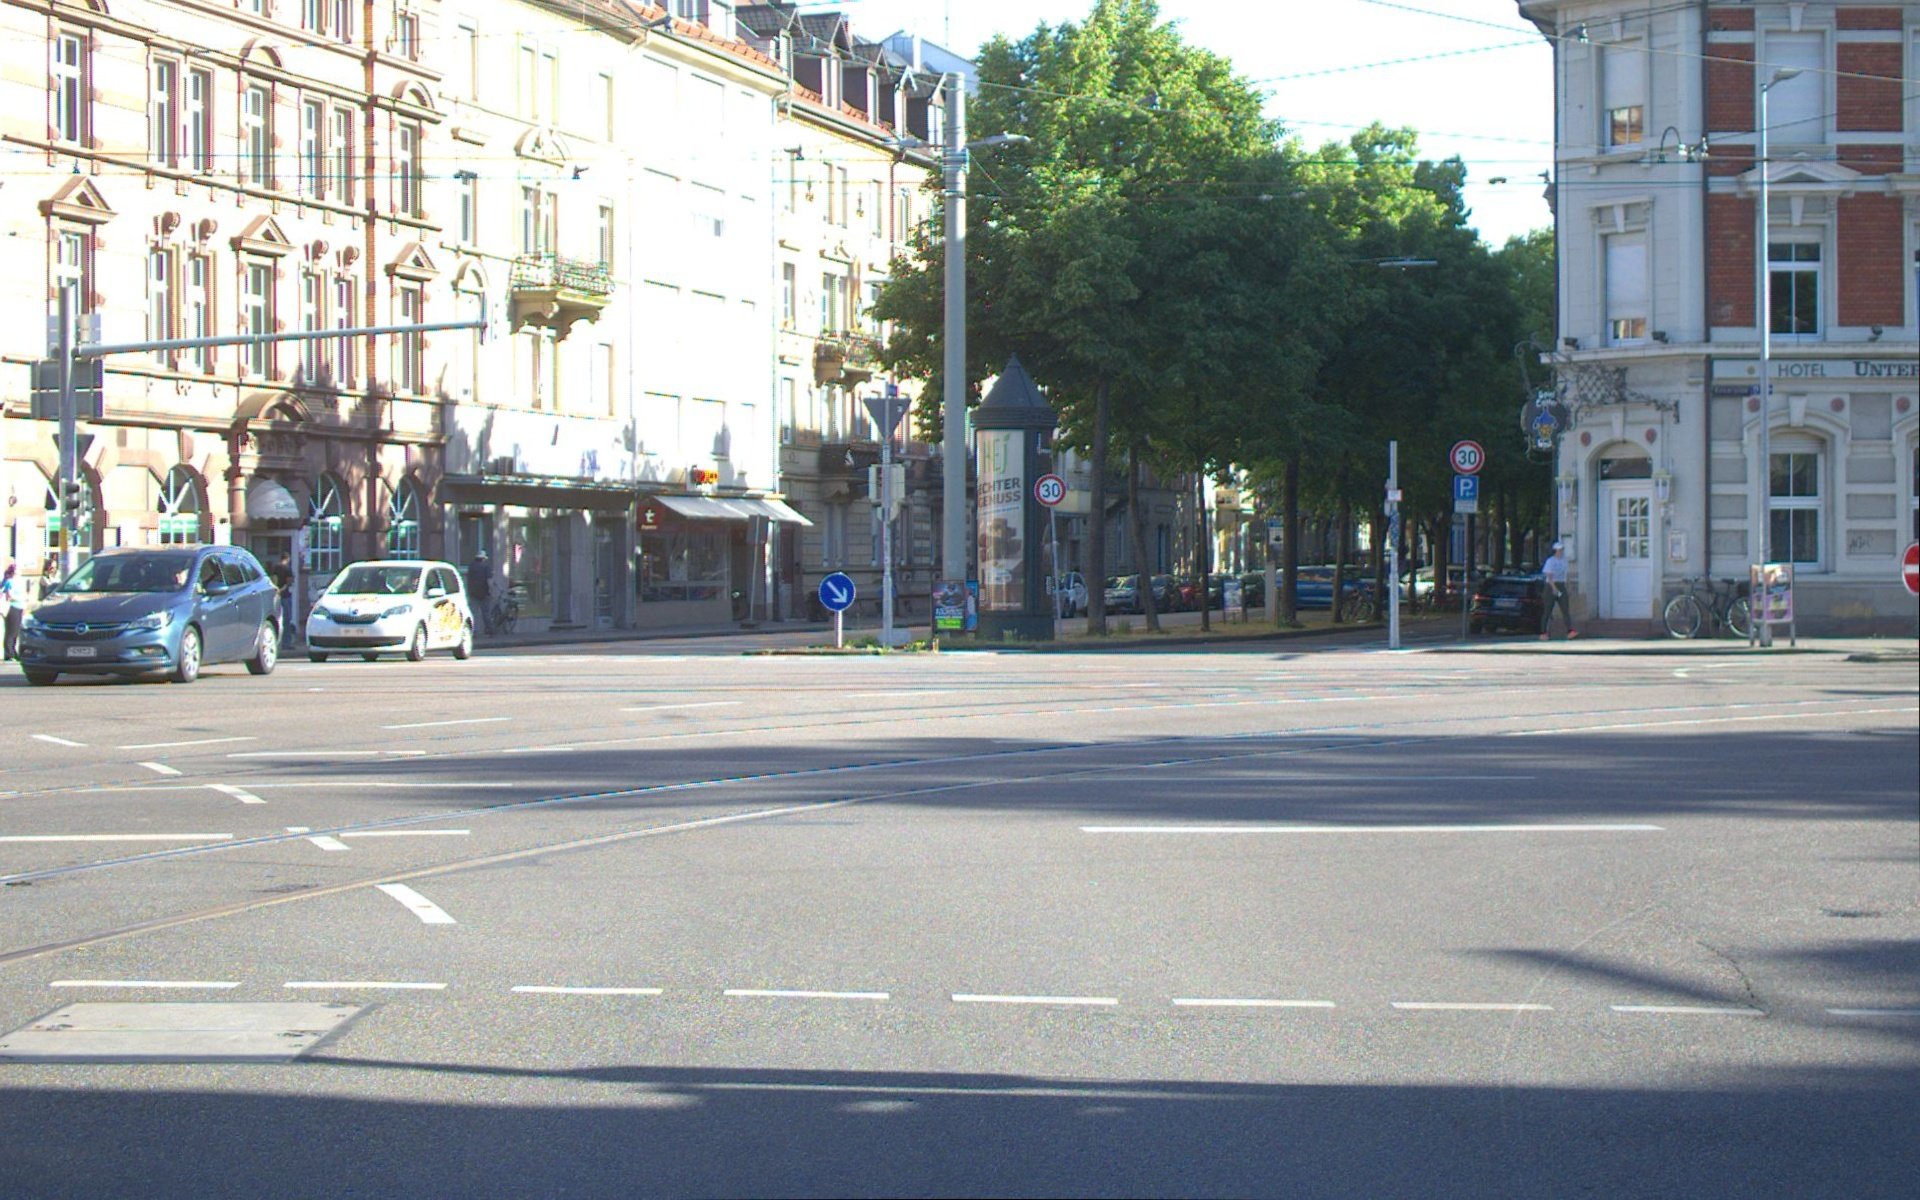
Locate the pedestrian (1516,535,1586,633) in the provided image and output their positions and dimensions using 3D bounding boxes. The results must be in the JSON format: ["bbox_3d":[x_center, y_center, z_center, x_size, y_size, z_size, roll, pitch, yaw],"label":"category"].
[{"bbox_3d":[10.149,-0.285,59.061,0.939,1.664,0.716,1,1,45],"label":"pedestrian"}]

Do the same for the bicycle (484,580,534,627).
[{"bbox_3d":[-10.430,0.072,79.546,0.495,1.063,1.768,0,1,16],"label":"bicycle"}]

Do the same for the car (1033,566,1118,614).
[{"bbox_3d":[3.808,-0.338,112.866,1.995,1.492,4.031,0,1,14],"label":"car"}]

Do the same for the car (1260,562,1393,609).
[{"bbox_3d":[12.320,-0.487,115.656,3.993,1.540,1.997,0,1,28],"label":"car"}]

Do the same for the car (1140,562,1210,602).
[{"bbox_3d":[8.255,-0.703,131.901,1.995,1.492,4.031,0,1,14],"label":"car"}]

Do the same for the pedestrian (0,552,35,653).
[{"bbox_3d":[-15.462,0.035,55.788,0.675,1.636,0.578,0,1,13],"label":"pedestrian"}]

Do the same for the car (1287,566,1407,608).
[{"bbox_3d":[14.443,-0.496,128.297,3.993,1.540,1.997,0,1,28],"label":"car"}]

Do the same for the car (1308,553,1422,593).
[{"bbox_3d":[15.845,-1.051,134.449,3.993,1.540,1.997,0,1,28],"label":"car"}]

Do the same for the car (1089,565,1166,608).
[{"bbox_3d":[5.977,-0.496,122.587,1.995,1.492,4.031,0,1,14],"label":"car"}]

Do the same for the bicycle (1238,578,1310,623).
[{"bbox_3d":[7.548,0.006,82.750,0.582,1.063,1.949,-1,1,-37],"label":"bicycle"}]

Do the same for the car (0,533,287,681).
[{"bbox_3d":[-8.764,0.032,37.161,1.774,1.492,4.573,0,1,4],"label":"car"}]

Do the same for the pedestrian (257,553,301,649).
[{"bbox_3d":[-13.011,0.012,65.677,0.580,1.830,0.632,0,1,16],"label":"pedestrian"}]

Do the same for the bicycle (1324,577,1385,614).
[{"bbox_3d":[11.378,-0.132,99.242,0.582,1.063,1.949,-1,1,-37],"label":"bicycle"}]

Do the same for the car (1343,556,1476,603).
[{"bbox_3d":[15.269,-0.698,116.761,3.994,1.540,1.997,0,1,31],"label":"car"}]

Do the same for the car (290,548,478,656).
[{"bbox_3d":[-8.338,0.004,50.037,1.718,1.492,3.582,0,1,8],"label":"car"}]

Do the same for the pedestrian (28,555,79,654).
[{"bbox_3d":[-15.089,0.067,57.214,0.631,1.636,0.552,0,1,13],"label":"pedestrian"}]

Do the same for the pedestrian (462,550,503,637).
[{"bbox_3d":[-10.537,-0.151,75.874,0.682,1.902,0.632,0,1,16],"label":"pedestrian"}]

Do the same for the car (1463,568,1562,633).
[{"bbox_3d":[13.270,-0.003,82.407,1.995,1.492,4.031,0,1,14],"label":"car"}]

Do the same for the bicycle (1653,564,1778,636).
[{"bbox_3d":[12.555,0.000,57.168,1.961,1.186,0.546,0,1,5],"label":"bicycle"}]

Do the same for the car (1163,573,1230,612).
[{"bbox_3d":[9.413,-0.314,136.524,1.995,1.492,4.031,0,1,14],"label":"car"}]

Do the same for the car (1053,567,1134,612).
[{"bbox_3d":[4.585,-0.372,117.352,1.995,1.492,4.031,0,1,14],"label":"car"}]
